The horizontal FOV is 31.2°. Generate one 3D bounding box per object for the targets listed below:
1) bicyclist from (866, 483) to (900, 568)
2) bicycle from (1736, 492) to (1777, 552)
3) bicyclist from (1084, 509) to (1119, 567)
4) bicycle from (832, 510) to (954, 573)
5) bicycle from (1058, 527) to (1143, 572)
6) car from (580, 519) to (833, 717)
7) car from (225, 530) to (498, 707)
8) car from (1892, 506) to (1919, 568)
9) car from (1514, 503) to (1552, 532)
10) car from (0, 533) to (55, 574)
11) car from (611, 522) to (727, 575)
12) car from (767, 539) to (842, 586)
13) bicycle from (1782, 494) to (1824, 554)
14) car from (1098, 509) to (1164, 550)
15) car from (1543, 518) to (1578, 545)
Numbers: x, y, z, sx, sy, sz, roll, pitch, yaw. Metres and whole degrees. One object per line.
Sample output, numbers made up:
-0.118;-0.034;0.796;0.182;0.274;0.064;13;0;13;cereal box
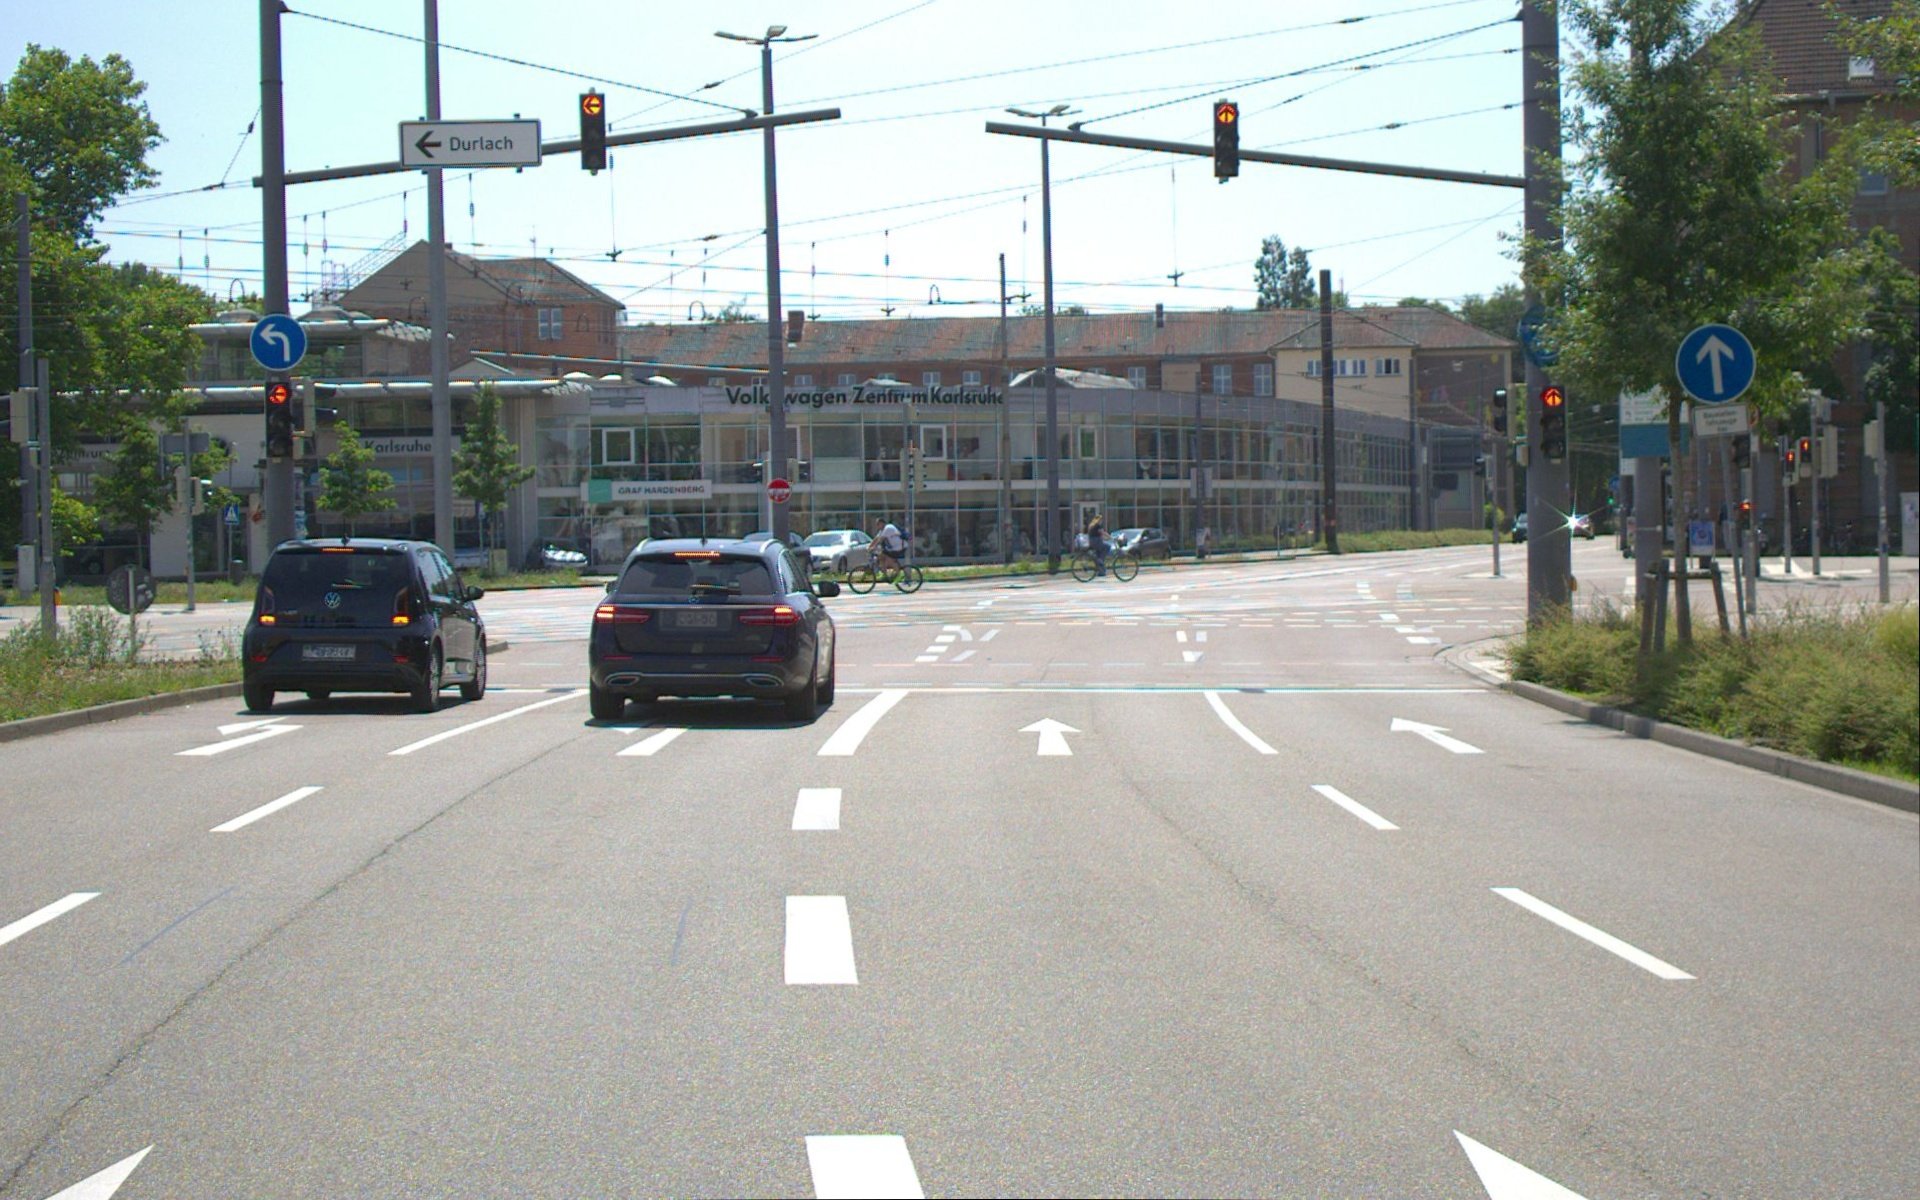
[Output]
-1.783;-1.731;79.773;0.763;1.931;0.660;0;3;0;bicyclist
25.007;-2.469;107.949;0.612;1.782;3.181;0;3;2;bicycle
3.653;-1.608;88.763;0.731;1.474;0.656;-1;3;-17;bicyclist
-1.545;-1.359;79.837;2.825;1.458;0.634;0;3;0;bicycle
3.618;-1.304;88.754;2.160;1.103;0.457;-1;3;-16;bicycle
-2.082;0.101;29.378;1.717;1.551;4.587;-1;1;1;car
-5.220;0.120;30.435;1.621;1.458;4.000;0;1;1;car
24.731;-1.530;82.823;4.100;1.446;1.698;-1;3;-17;car
31.143;-4.486;186.784;1.531;1.454;3.552;0;3;1;car
-35.649;-1.783;131.281;1.509;1.413;3.422;0;3;-4;car
-7.902;-1.415;93.589;1.621;1.385;4.121;0;1;19;car
-4.767;-1.156;105.768;1.432;1.281;3.260;1;3;14;car
26.437;-2.386;107.818;0.612;1.782;3.181;0;3;2;bicycle
6.512;-2.672;130.416;1.572;1.422;3.610;1;3;19;car
36.661;-4.175;209.811;1.585;1.523;3.716;0;3;2;car
